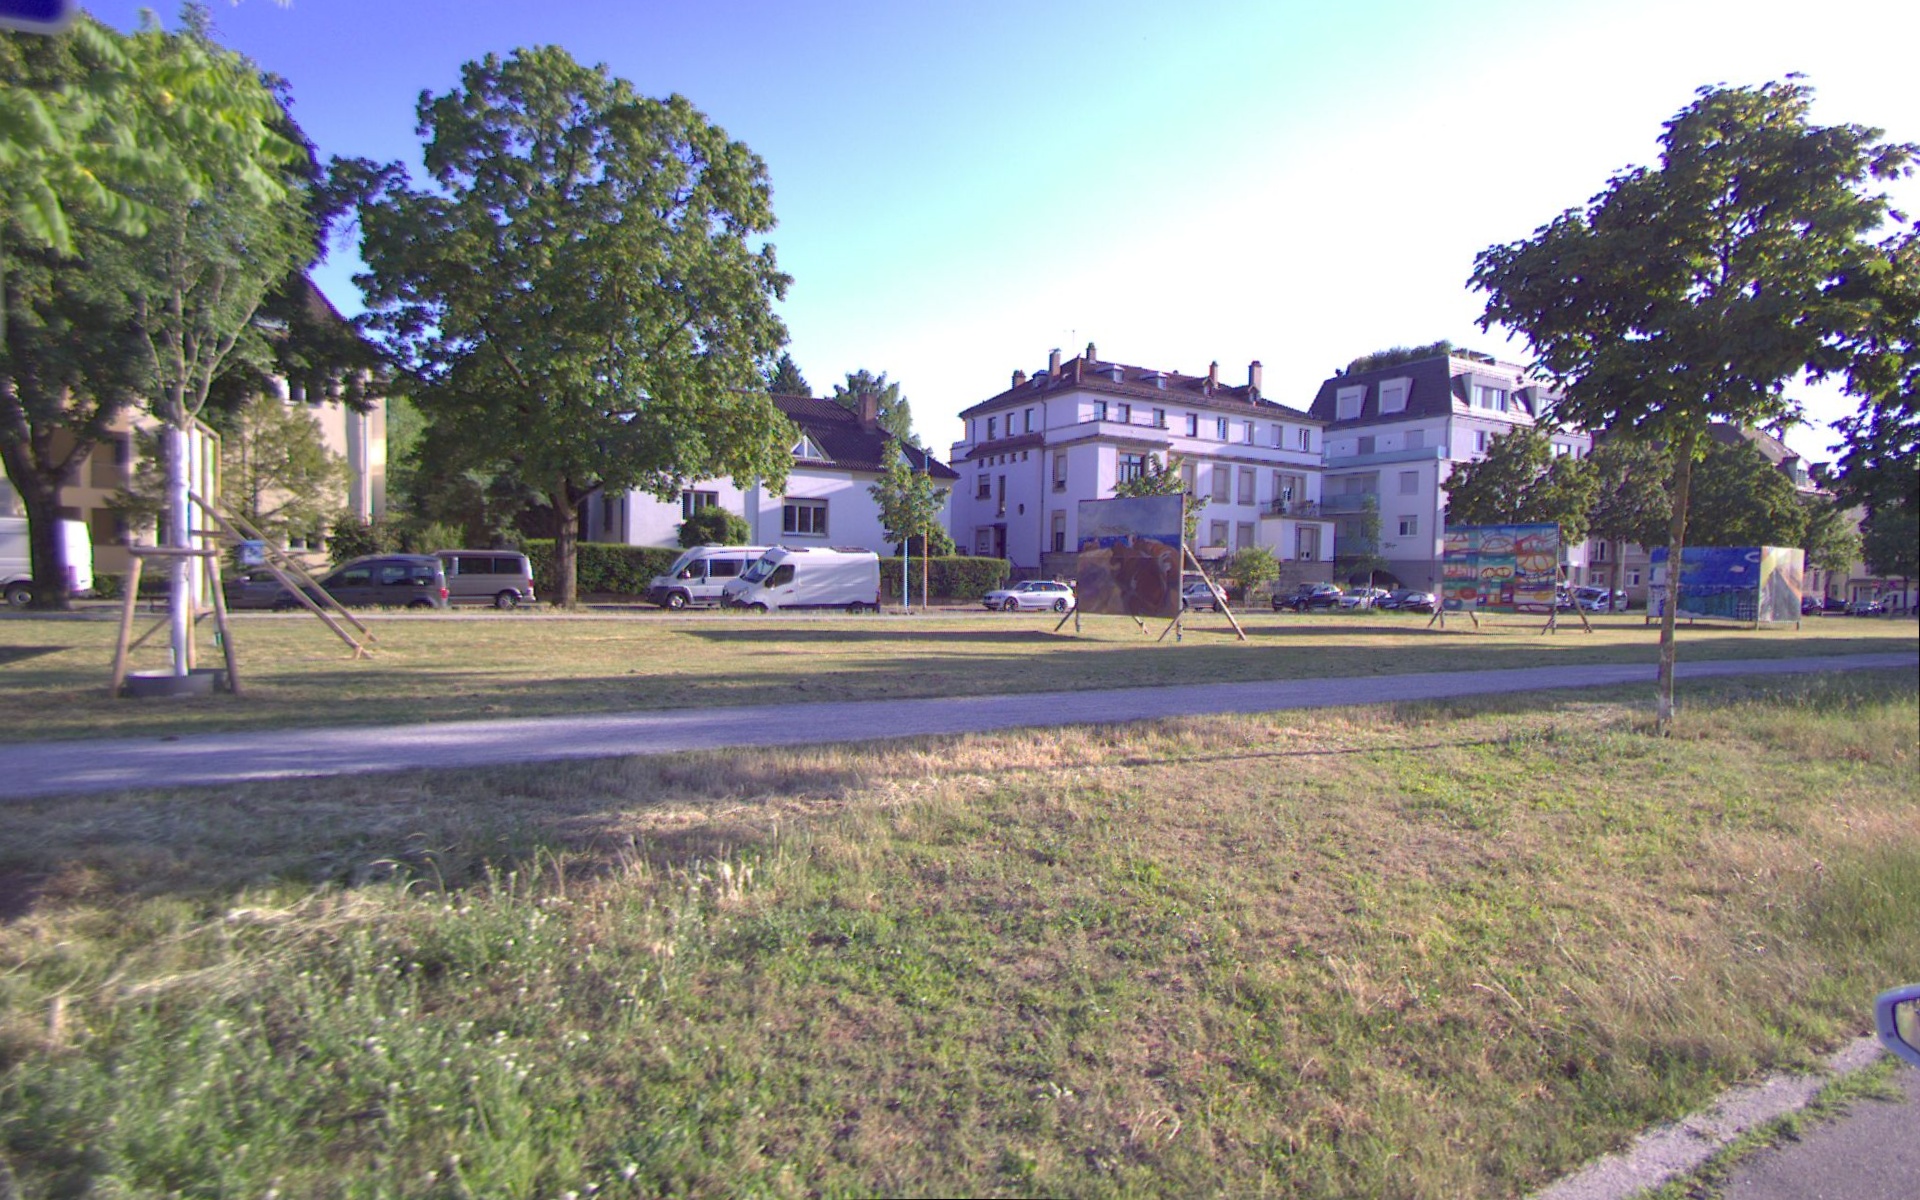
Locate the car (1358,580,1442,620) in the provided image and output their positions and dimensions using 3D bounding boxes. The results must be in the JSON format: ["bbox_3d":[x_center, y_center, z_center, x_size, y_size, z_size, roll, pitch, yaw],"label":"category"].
[{"bbox_3d":[23.008,0.050,52.473,4.277,1.942,1.881,1,-2,-31],"label":"car"}]

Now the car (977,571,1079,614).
[{"bbox_3d":[3.211,-0.325,47.330,4.659,1.878,1.722,1,-2,-31],"label":"car"}]

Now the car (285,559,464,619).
[{"bbox_3d":[-16.387,-0.315,28.288,4.261,1.585,1.406,0,2,-32],"label":"car"}]

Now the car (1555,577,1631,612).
[{"bbox_3d":[39.136,-0.299,62.068,5.315,2.027,2.007,1,-2,-34],"label":"car"}]

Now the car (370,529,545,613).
[{"bbox_3d":[-17.424,-0.903,34.940,5.267,2.638,2.124,1,-2,-32],"label":"car"}]

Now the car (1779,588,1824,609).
[{"bbox_3d":[75.204,-0.134,89.752,4.241,1.729,1.636,1,-2,-29],"label":"car"}]

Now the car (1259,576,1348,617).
[{"bbox_3d":[19.661,-0.140,57.440,4.795,2.159,2.228,1,-2,-29],"label":"car"}]

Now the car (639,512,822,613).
[{"bbox_3d":[-9.021,-1.355,39.777,6.686,3.605,2.293,1,-2,-30],"label":"car"}]

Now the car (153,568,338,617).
[{"bbox_3d":[-22.624,-0.193,32.066,4.502,1.421,1.987,1,-2,-27],"label":"car"}]

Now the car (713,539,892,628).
[{"bbox_3d":[-5.475,-0.461,35.199,5.802,2.863,2.250,1,-2,-30],"label":"car"}]

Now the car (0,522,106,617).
[{"bbox_3d":[-28.652,-0.876,28.799,6.020,2.632,1.984,1,-2,-31],"label":"car"}]

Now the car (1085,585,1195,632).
[{"bbox_3d":[7.802,0.400,43.482,4.586,1.924,1.825,1,-2,-30],"label":"car"}]

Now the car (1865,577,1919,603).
[{"bbox_3d":[102.696,-1.129,109.047,6.203,2.757,1.998,1,2,30],"label":"car"}]

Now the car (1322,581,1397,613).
[{"bbox_3d":[23.771,-0.157,59.780,4.406,1.767,1.813,1,-2,-30],"label":"car"}]

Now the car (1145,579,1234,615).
[{"bbox_3d":[12.012,-0.143,52.565,4.612,1.725,1.773,1,-2,-31],"label":"car"}]
